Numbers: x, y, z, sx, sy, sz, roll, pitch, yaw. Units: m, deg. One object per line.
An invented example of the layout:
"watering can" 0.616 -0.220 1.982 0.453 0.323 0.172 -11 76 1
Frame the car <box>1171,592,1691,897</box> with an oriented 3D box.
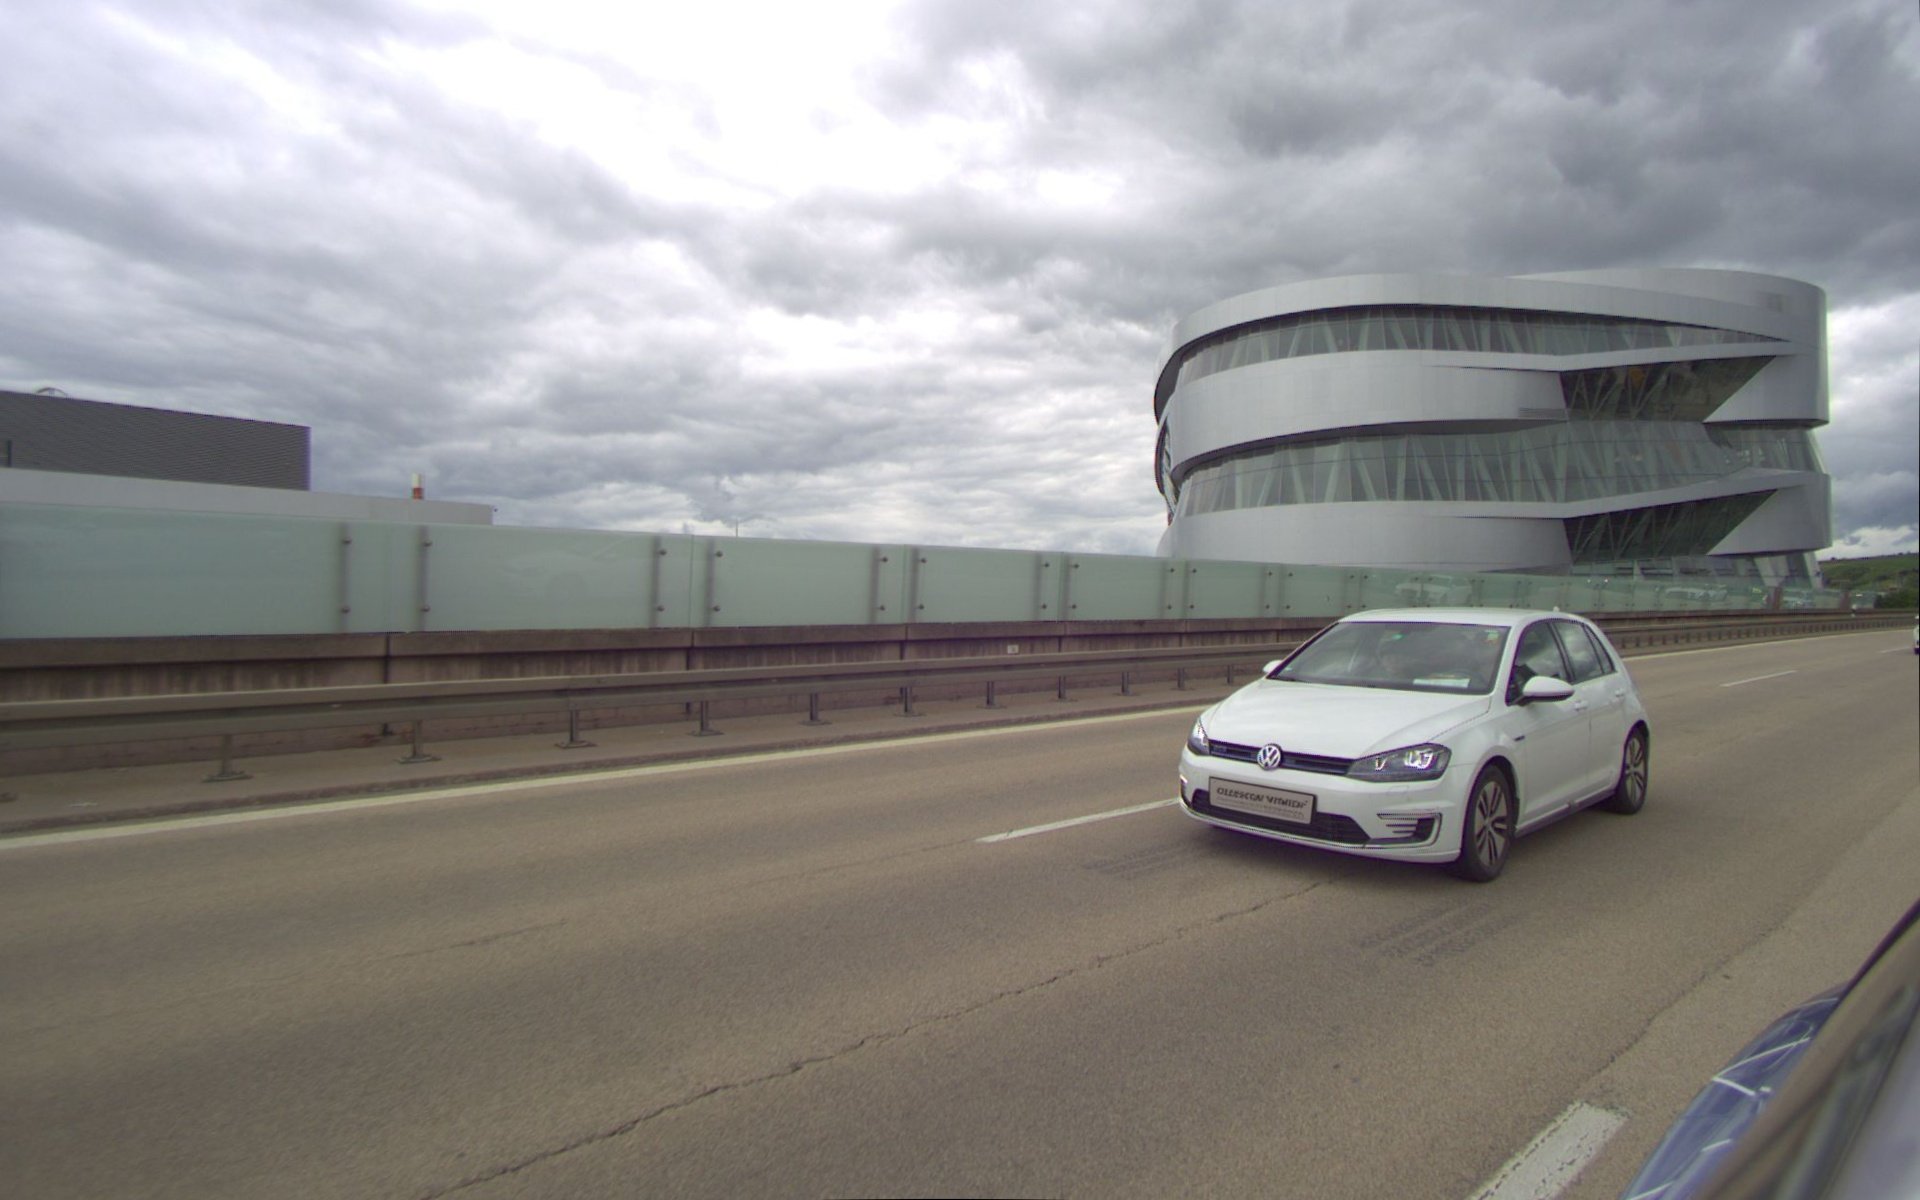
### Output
"car" 3.375 0.699 6.889 4.001 1.470 1.757 0 0 -41
